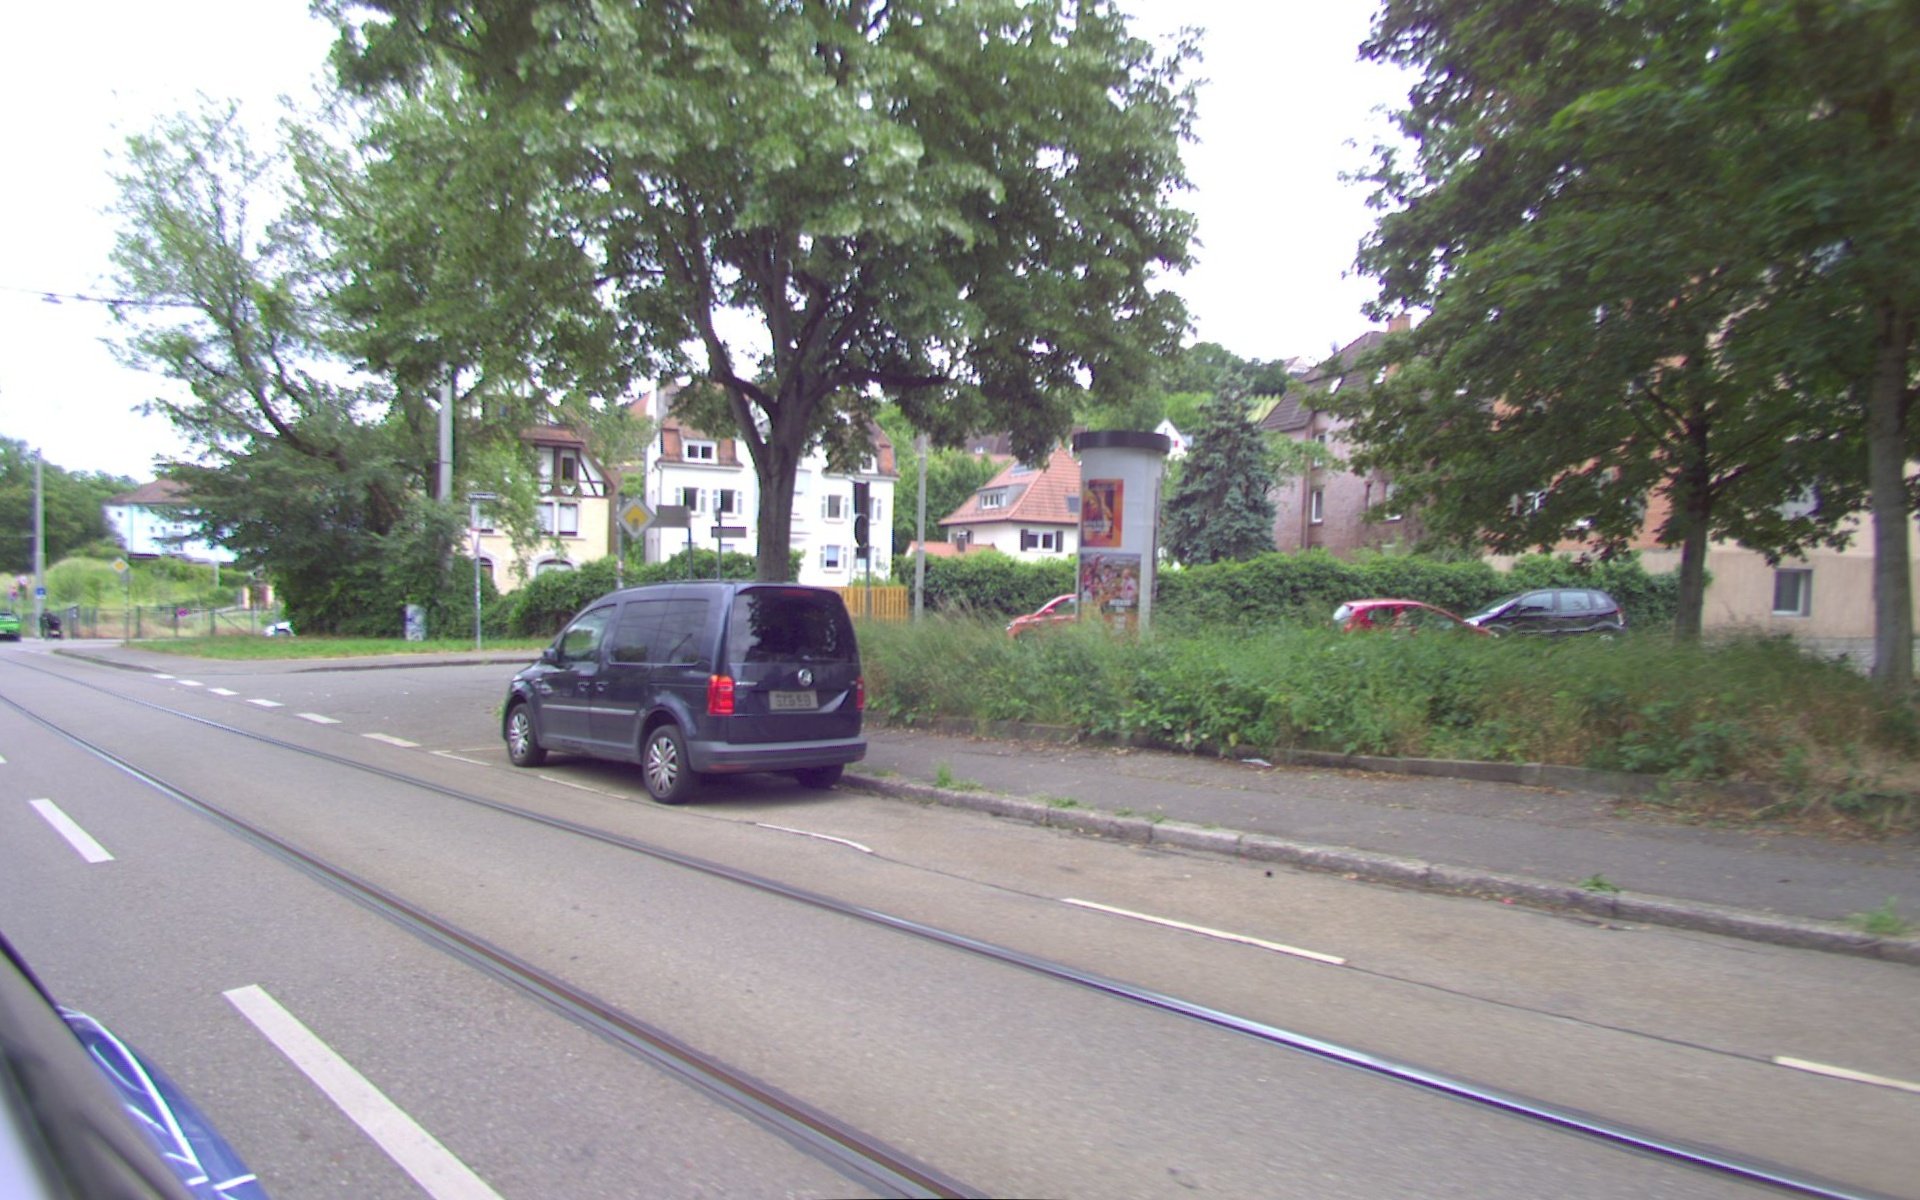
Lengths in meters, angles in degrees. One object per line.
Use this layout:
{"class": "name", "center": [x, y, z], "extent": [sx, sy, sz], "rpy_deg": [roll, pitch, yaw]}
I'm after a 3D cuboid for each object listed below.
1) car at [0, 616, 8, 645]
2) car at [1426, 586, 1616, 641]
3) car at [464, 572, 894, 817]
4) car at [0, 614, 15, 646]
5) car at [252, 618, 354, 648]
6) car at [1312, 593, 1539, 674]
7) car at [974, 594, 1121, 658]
{"class": "car", "center": [-52.220, 1.604, 53.911], "extent": [3.947, 1.505, 1.831], "rpy_deg": [-1, -3, 42]}
{"class": "car", "center": [13.638, 0.314, 24.752], "extent": [3.733, 1.245, 1.455], "rpy_deg": [-1, 1, 5]}
{"class": "car", "center": [-2.876, 0.762, 9.654], "extent": [4.668, 1.789, 1.742], "rpy_deg": [-1, -4, 43]}
{"class": "car", "center": [-47.848, 1.480, 49.638], "extent": [3.947, 1.552, 1.831], "rpy_deg": [-2, -1, 42]}
{"class": "car", "center": [-31.832, 1.569, 49.172], "extent": [3.944, 1.388, 1.701], "rpy_deg": [0, -1, -24]}
{"class": "car", "center": [9.039, 0.642, 19.926], "extent": [3.688, 1.426, 1.648], "rpy_deg": [-2, 1, 9]}
{"class": "car", "center": [2.207, 0.632, 25.772], "extent": [3.568, 1.489, 1.747], "rpy_deg": [-1, 1, 5]}
